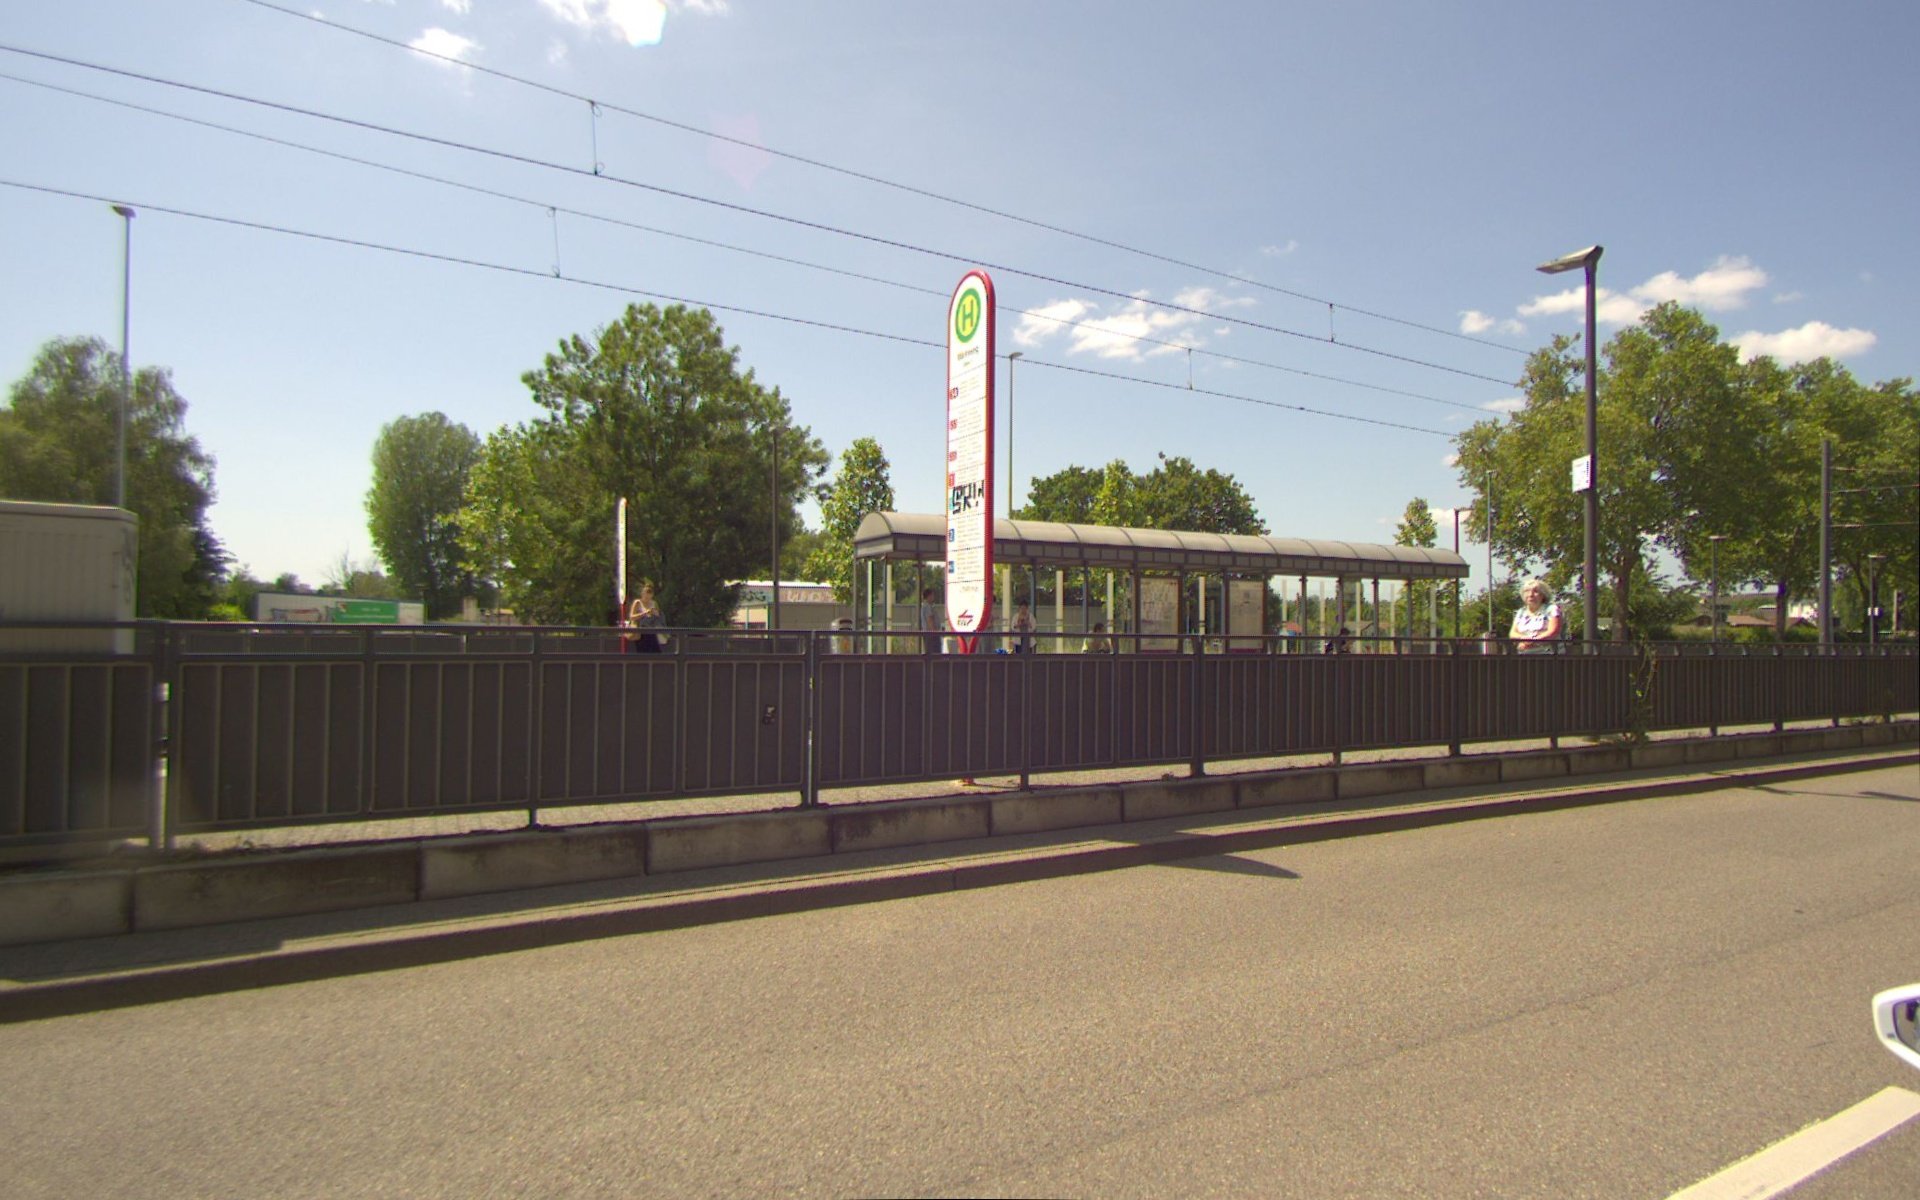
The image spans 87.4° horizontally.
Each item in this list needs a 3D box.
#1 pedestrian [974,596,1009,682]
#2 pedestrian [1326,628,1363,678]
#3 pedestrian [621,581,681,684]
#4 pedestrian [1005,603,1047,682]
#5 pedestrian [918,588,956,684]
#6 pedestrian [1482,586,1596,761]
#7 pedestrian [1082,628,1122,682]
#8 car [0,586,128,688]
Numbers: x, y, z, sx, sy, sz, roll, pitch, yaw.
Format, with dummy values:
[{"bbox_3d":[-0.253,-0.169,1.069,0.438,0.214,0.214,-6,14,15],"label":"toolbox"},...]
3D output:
[{"bbox_3d":[0.633,0.768,19.953,0.566,1.660,0.829,1,-1,9],"label":"pedestrian"},{"bbox_3d":[9.504,1.297,24.830,0.631,1.206,0.574,1,-1,-28],"label":"pedestrian"},{"bbox_3d":[-5.112,0.540,16.626,0.799,1.660,0.553,1,-1,-36],"label":"pedestrian"},{"bbox_3d":[1.329,0.850,20.260,0.631,1.553,0.574,1,-1,-28],"label":"pedestrian"},{"bbox_3d":[-0.429,0.673,18.913,0.566,1.752,0.739,1,-1,9],"label":"pedestrian"},{"bbox_3d":[5.879,0.719,10.214,0.733,1.687,0.729,1,-1,-29],"label":"pedestrian"},{"bbox_3d":[2.981,1.139,21.099,0.631,1.109,0.574,1,-1,-28],"label":"pedestrian"},{"bbox_3d":[-16.807,0.584,16.925,3.952,1.650,1.984,2,0,-30],"label":"car"}]
